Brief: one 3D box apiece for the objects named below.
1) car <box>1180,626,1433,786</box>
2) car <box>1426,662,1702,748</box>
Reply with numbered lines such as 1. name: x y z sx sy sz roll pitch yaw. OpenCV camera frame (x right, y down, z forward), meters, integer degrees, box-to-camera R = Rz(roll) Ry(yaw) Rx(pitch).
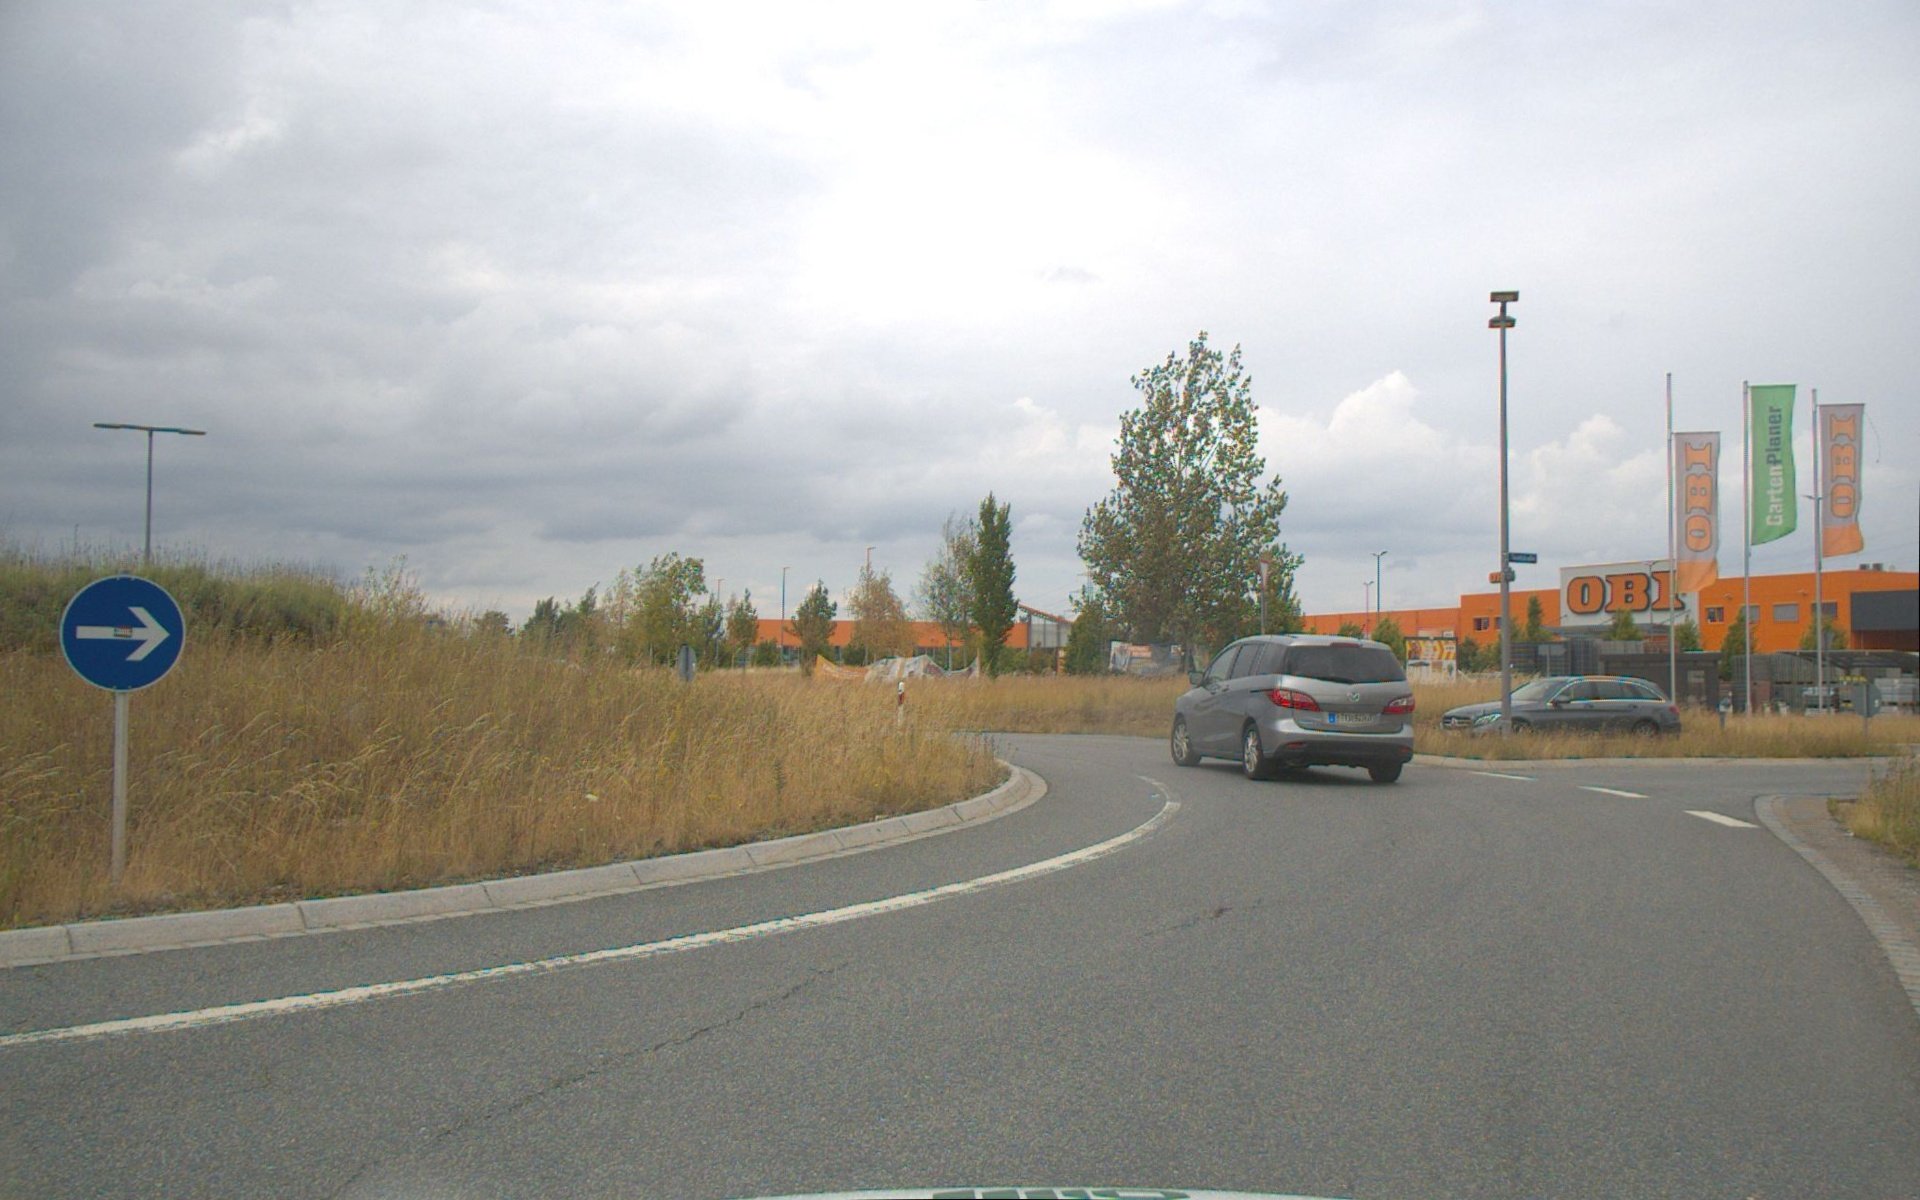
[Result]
1. car: 3.932 1.153 19.435 1.705 1.626 3.991 2 -1 -7
2. car: 11.304 1.955 31.029 4.593 1.428 1.921 3 -3 -14
